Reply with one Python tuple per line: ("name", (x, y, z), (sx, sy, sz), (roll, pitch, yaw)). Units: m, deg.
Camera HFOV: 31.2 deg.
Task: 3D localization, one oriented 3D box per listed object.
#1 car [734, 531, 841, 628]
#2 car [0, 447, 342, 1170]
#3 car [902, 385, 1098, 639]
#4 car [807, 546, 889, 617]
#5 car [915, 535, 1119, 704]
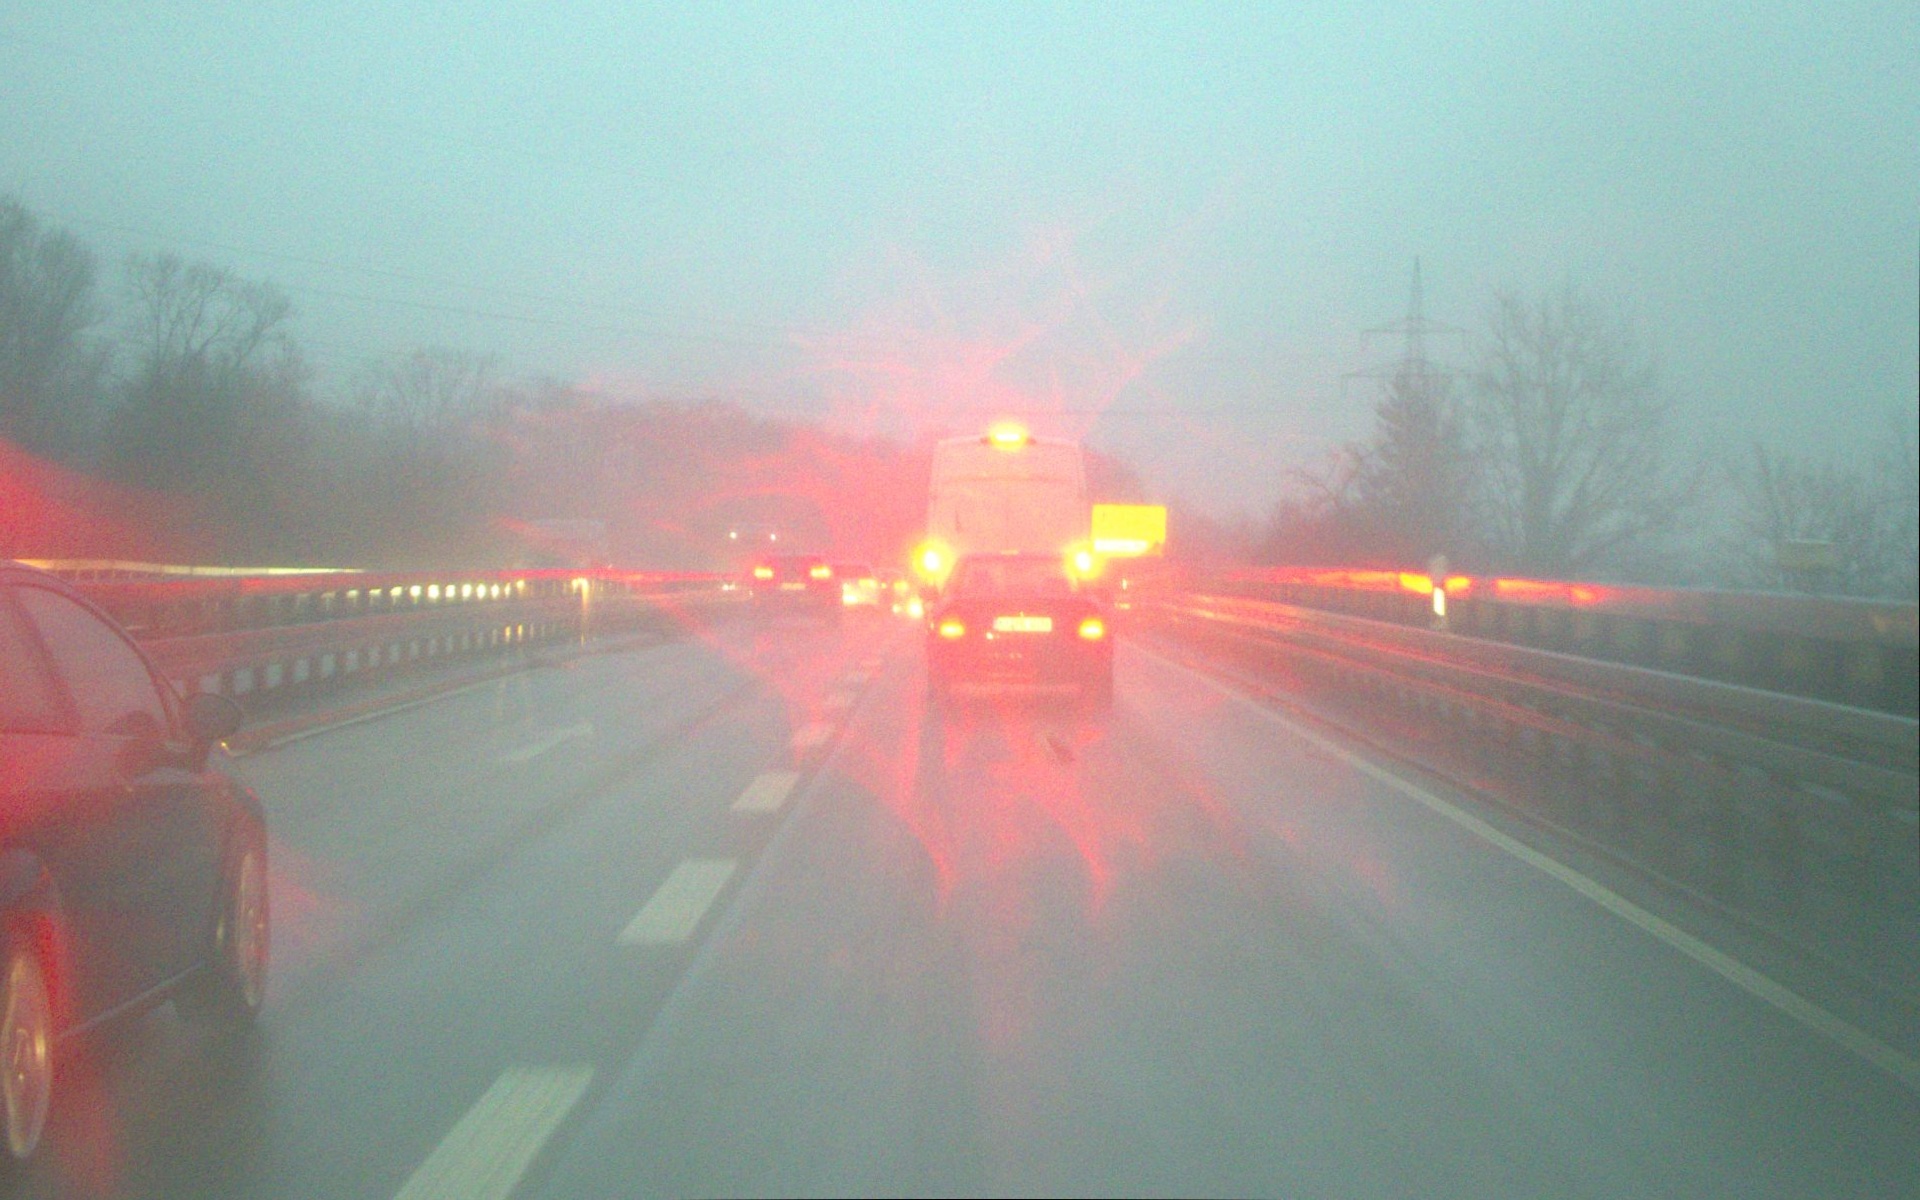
("car", (-3.475, -0.436, 69.939), (1.993, 1.808, 4.000), (3, 1, -2))
("car", (-2.863, 0.453, 8.887), (1.730, 1.527, 4.042), (0, -1, 1))
("car", (0.477, -1.034, 43.526), (2.282, 2.956, 6.390), (0, 0, 0))
("car", (-2.879, -0.474, 88.485), (1.993, 1.708, 4.000), (2, 0, -2))
("car", (0.554, 0.140, 32.359), (1.736, 1.410, 4.377), (3, 1, 1))
